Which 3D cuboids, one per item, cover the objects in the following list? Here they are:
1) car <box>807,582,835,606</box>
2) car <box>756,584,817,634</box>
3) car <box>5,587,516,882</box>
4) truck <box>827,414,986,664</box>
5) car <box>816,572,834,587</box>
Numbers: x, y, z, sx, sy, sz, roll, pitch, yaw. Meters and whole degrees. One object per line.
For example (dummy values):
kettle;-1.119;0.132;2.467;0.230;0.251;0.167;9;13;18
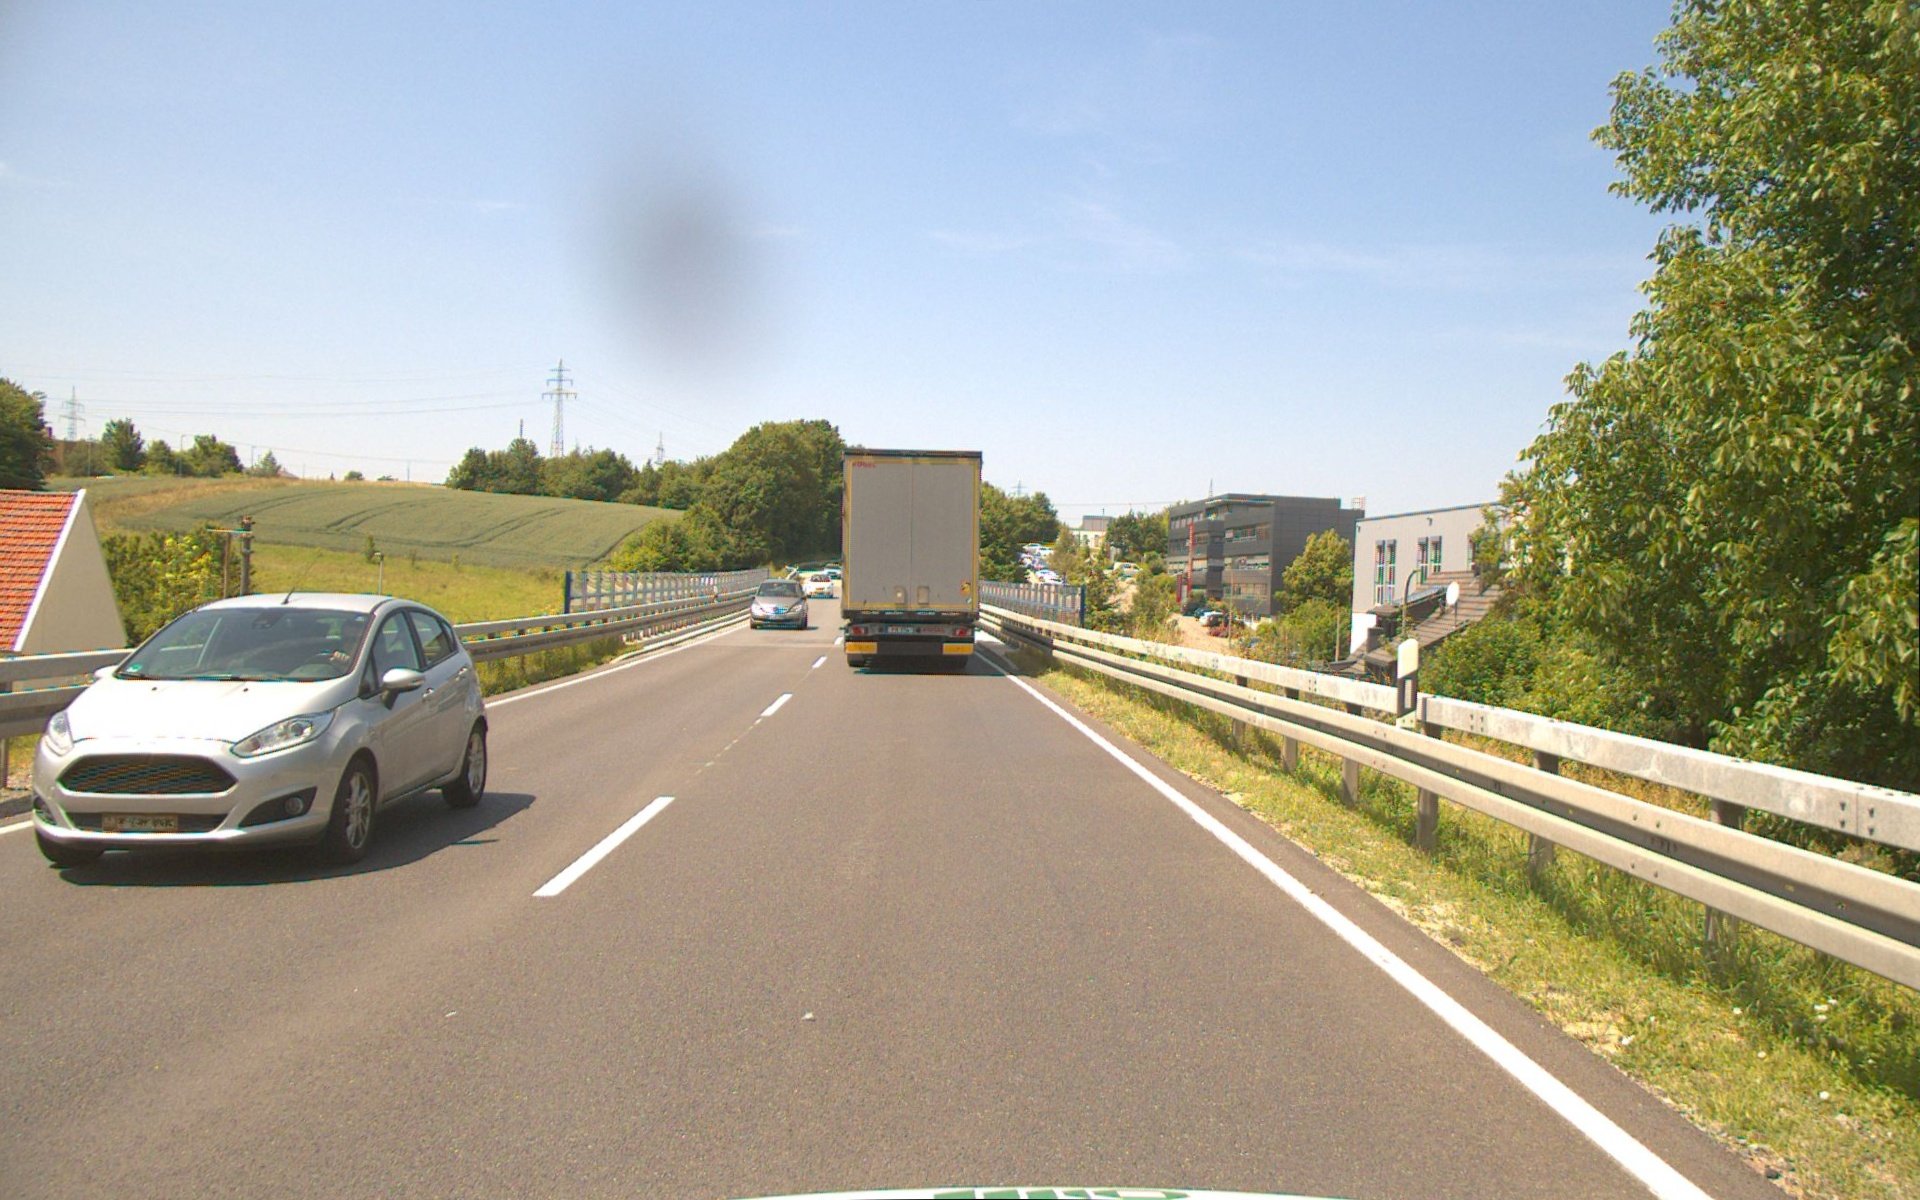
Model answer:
car;-8.915;-0.373;106.074;1.673;1.531;4.116;0;0;-3
car;-5.755;0.276;55.340;1.770;1.617;4.377;0;0;-3
car;-4.092;0.661;10.453;1.613;1.466;4.156;0;1;-3
truck;-1.172;-1.069;34.325;2.809;4.436;9.783;0;0;-3
car;-13.456;-2.064;164.920;1.746;1.460;4.831;0;1;-4
